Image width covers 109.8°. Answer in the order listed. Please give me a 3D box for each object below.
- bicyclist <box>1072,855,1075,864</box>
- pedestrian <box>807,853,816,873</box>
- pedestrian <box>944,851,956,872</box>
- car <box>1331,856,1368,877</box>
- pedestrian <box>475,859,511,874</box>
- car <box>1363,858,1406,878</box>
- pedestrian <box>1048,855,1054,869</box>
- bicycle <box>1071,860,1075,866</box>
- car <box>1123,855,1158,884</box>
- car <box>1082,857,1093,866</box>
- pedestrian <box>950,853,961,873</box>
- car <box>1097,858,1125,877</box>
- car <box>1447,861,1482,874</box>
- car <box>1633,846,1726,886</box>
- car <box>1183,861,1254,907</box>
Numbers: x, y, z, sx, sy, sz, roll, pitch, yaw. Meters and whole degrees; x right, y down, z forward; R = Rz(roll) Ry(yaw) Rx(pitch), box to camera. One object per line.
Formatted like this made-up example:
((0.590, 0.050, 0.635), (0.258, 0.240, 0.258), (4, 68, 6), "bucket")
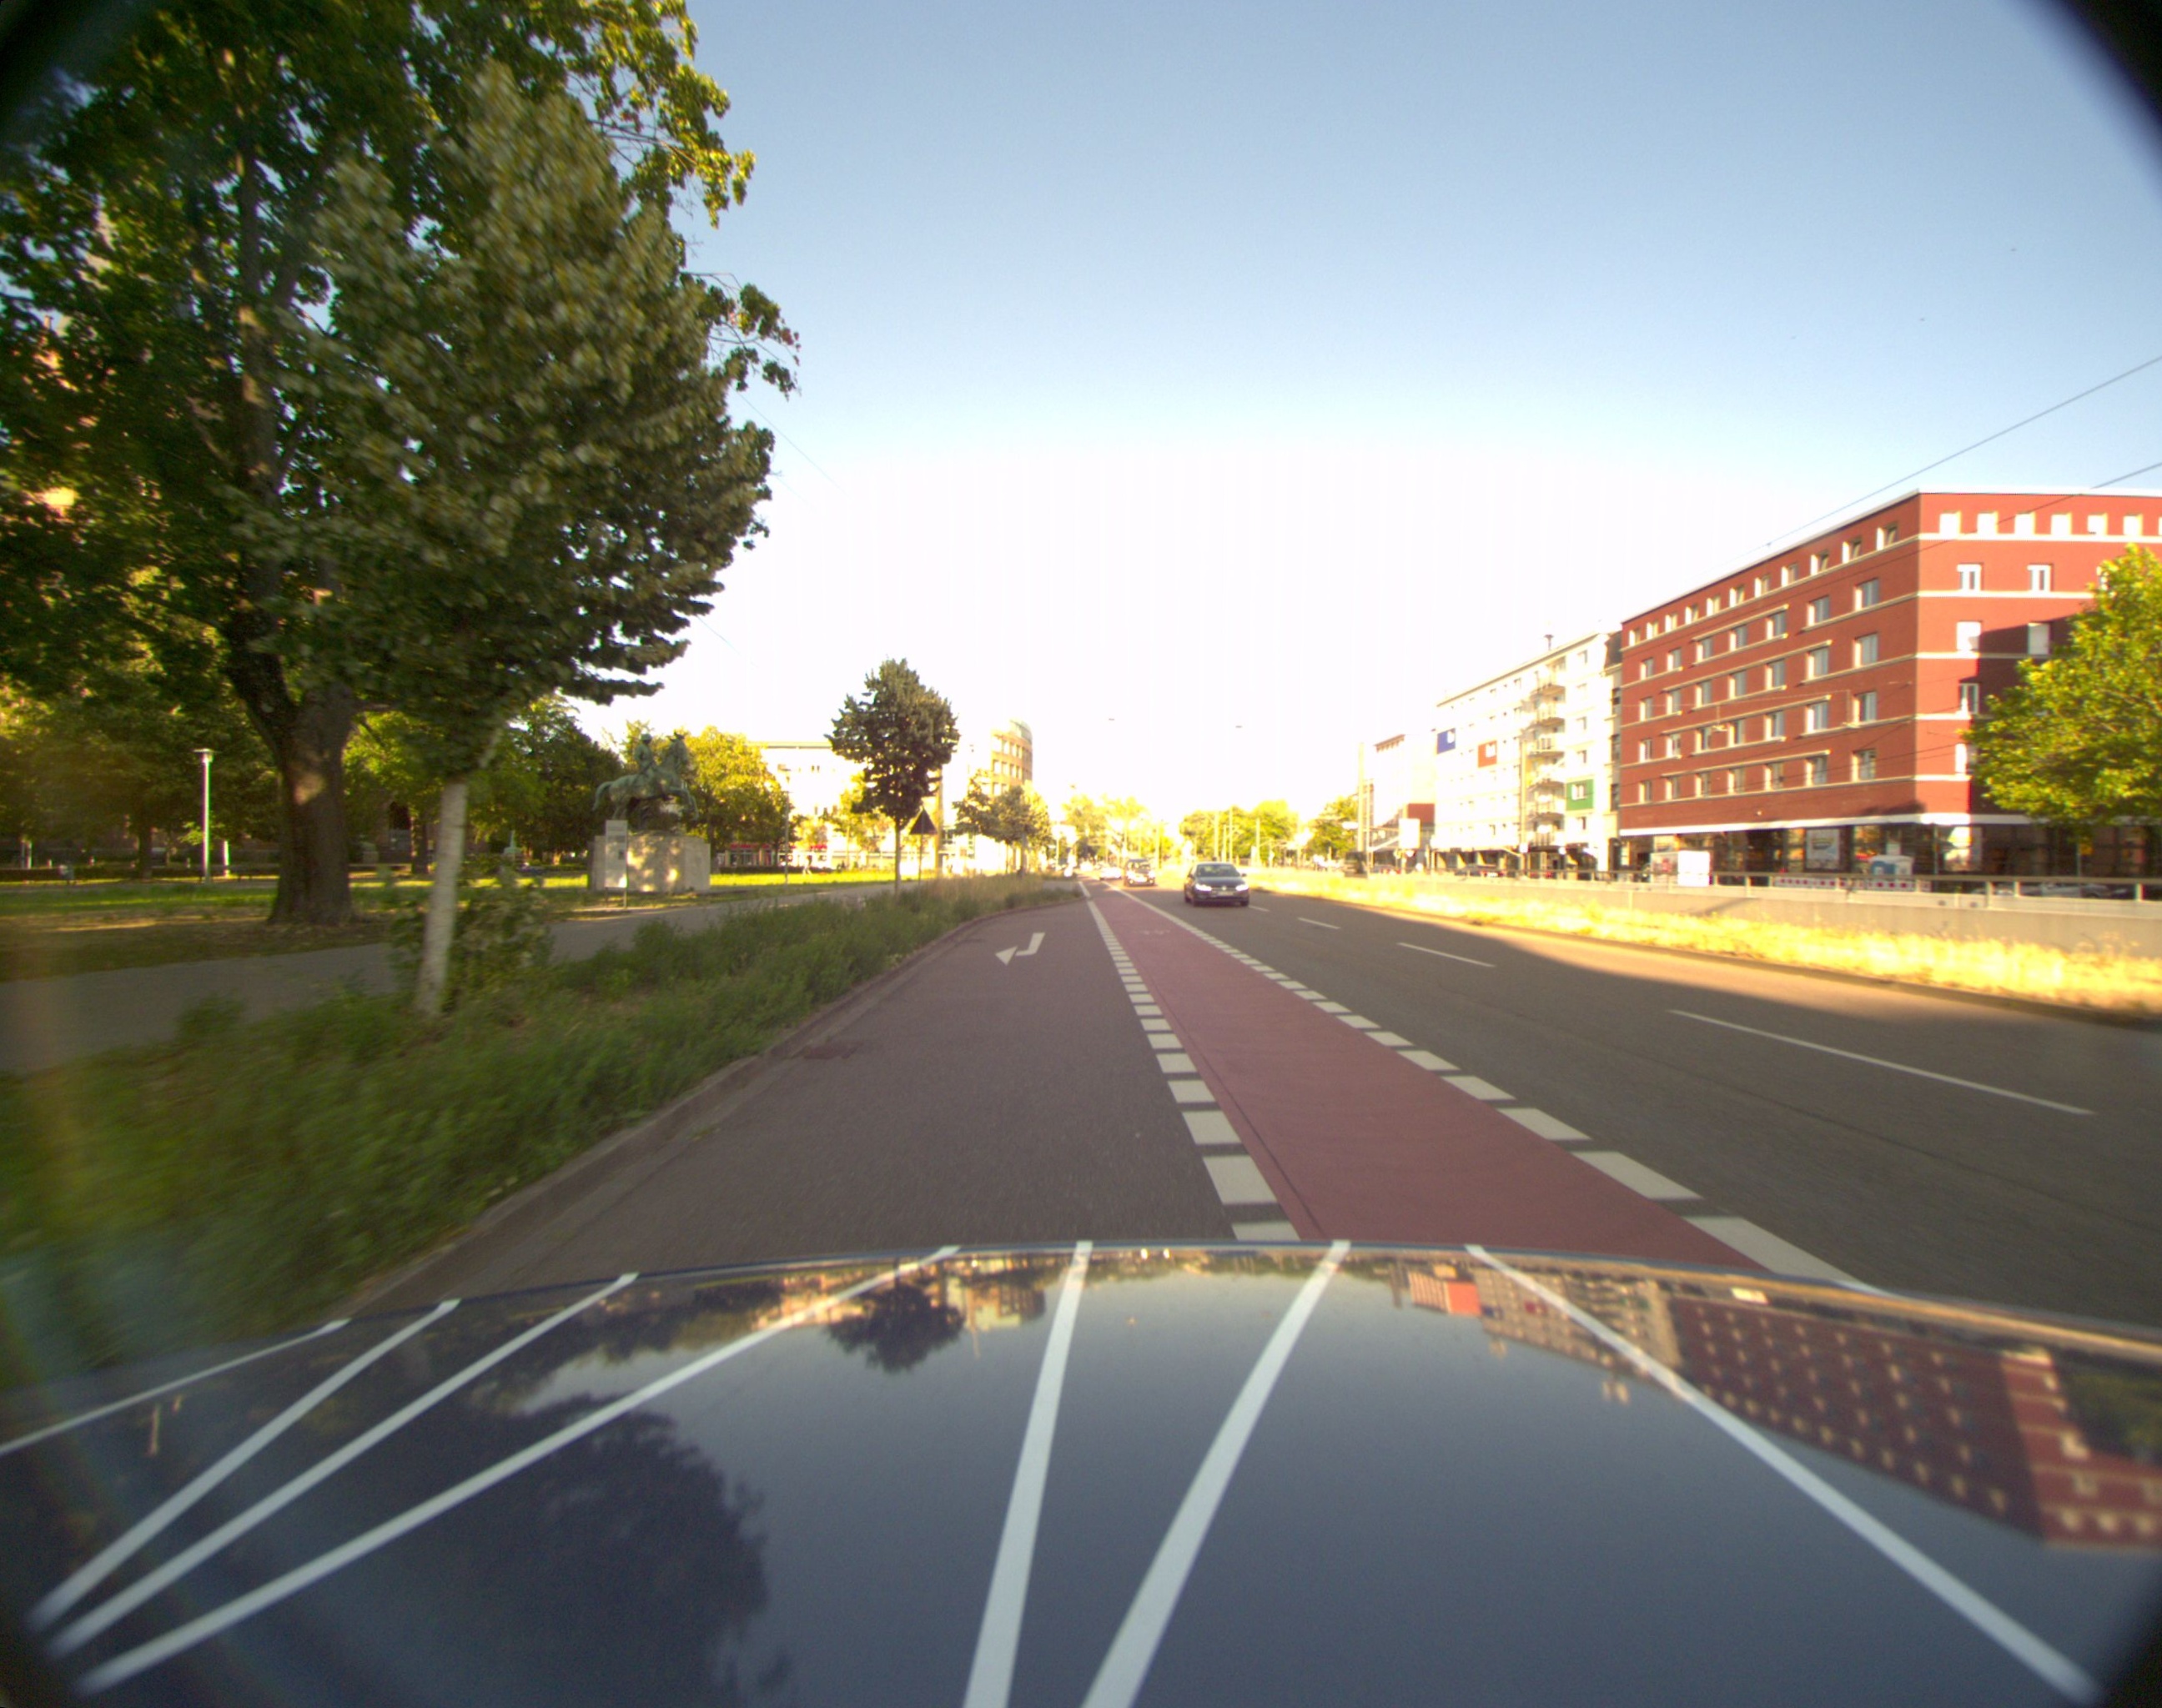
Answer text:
((-1.321, 0.971, 130.011), (0.552, 1.600, 0.832), (0, 0, 3), "bicyclist")
((-23.314, 0.777, 65.779), (0.644, 1.729, 0.595), (0, 0, -33), "pedestrian")
((-10.638, 0.609, 61.696), (0.740, 1.640, 0.916), (3, 0, 4), "pedestrian")
((27.268, 1.245, 77.410), (1.999, 2.002, 4.774), (0, 0, -1), "car")
((-39.818, 0.866, 51.462), (1.381, 0.988, 1.285), (0, 0, 11), "pedestrian")
((27.320, 1.225, 68.583), (1.998, 1.786, 4.895), (0, 0, 1), "car")
((-3.653, 0.927, 93.410), (0.651, 1.714, 0.715), (0, 0, 2), "pedestrian")
((-1.314, 1.507, 130.074), (0.608, 0.923, 1.777), (0, 0, 3), "bicycle")
((3.634, 0.913, 46.983), (1.770, 1.722, 4.147), (0, 0, -1), "car")
((1.058, 1.265, 132.192), (1.770, 1.464, 4.013), (-1, 0, -1), "car")
((-10.391, 0.747, 62.951), (0.599, 1.679, 0.782), (2, 0, 4), "pedestrian")
((2.585, 1.151, 66.627), (1.834, 1.528, 4.276), (-2, 0, -5), "car")
((54.572, 1.923, 108.166), (3.997, 1.770, 1.742), (-2, 1, 0), "car")
((33.958, 0.670, 43.291), (1.956, 2.121, 4.575), (1, 0, 6), "car")
((4.581, 0.962, 25.849), (1.769, 1.418, 4.246), (-1, -1, 2), "car")
